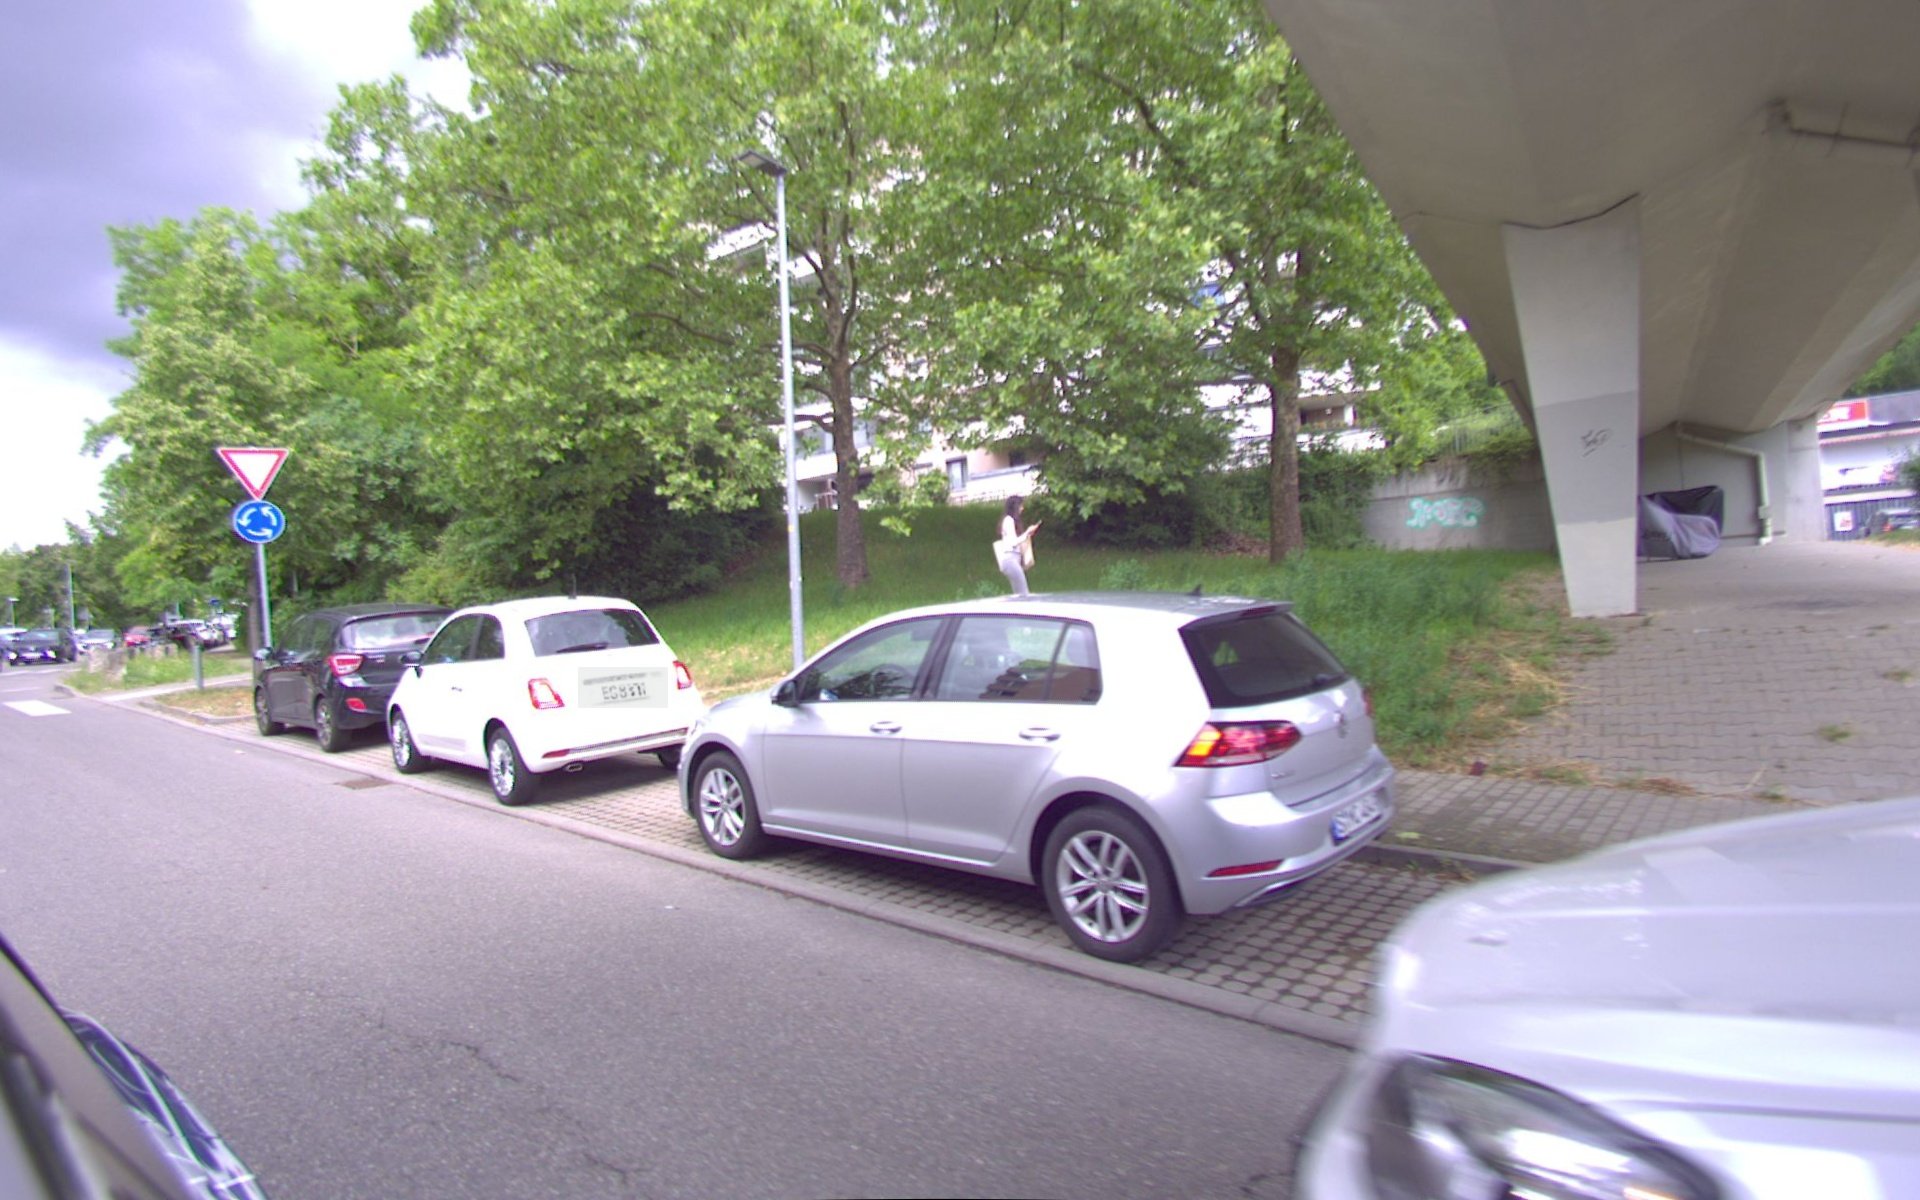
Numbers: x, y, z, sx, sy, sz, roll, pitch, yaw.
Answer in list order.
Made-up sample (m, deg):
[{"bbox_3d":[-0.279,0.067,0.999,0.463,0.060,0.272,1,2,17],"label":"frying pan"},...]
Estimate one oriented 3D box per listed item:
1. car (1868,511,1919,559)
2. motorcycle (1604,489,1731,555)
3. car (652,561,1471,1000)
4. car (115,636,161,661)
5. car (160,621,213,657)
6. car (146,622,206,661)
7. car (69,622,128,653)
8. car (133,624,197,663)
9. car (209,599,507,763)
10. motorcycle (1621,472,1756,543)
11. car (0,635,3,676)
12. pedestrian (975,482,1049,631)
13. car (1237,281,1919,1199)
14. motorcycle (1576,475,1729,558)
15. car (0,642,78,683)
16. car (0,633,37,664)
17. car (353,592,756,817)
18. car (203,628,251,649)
[{"bbox_3d":[31.684,-2.175,33.644,1.737,1.469,3.952,-4,0,36],"label":"car"},{"bbox_3d":[16.351,-1.767,23.435,2.312,1.280,0.875,-4,0,37],"label":"motorcycle"},{"bbox_3d":[0.290,0.618,5.410,3.999,1.438,1.865,-2,1,42],"label":"car"},{"bbox_3d":[-59.870,3.496,73.761,1.730,1.628,4.013,-4,0,-27],"label":"car"},{"bbox_3d":[-41.885,2.108,54.888,1.783,1.676,4.449,-7,2,-32],"label":"car"},{"bbox_3d":[-38.869,2.025,50.259,1.775,1.627,4.491,-7,3,-32],"label":"car"},{"bbox_3d":[-51.660,2.236,60.757,1.730,1.628,4.013,-4,0,-27],"label":"car"},{"bbox_3d":[-35.734,1.941,45.574,1.667,1.475,4.469,-7,2,-32],"label":"car"},{"bbox_3d":[-7.212,0.828,11.975,3.998,1.478,1.768,-1,4,41],"label":"car"},{"bbox_3d":[16.024,-2.004,22.321,2.312,1.280,0.875,-4,0,37],"label":"motorcycle"},{"bbox_3d":[-36.235,2.102,36.250,1.730,1.527,4.013,-4,0,-27],"label":"car"},{"bbox_3d":[0.673,-0.533,12.779,0.652,1.734,0.738,-9,-1,6],"label":"pedestrian"},{"bbox_3d":[2.384,0.535,0.324,4.049,1.623,1.730,-2,-1,41],"label":"car"},{"bbox_3d":[12.555,-1.484,18.425,0.871,1.280,2.052,-4,0,-31],"label":"motorcycle"},{"bbox_3d":[-41.991,2.828,46.112,1.730,1.628,4.013,-4,0,-27],"label":"car"},{"bbox_3d":[-54.546,2.781,56.896,3.619,1.659,1.857,-2,-1,-30],"label":"car"},{"bbox_3d":[-3.653,0.737,8.878,3.546,1.471,1.865,-1,3,42],"label":"car"},{"bbox_3d":[-69.582,3.674,96.025,3.968,1.652,1.662,-4,0,19],"label":"car"}]
